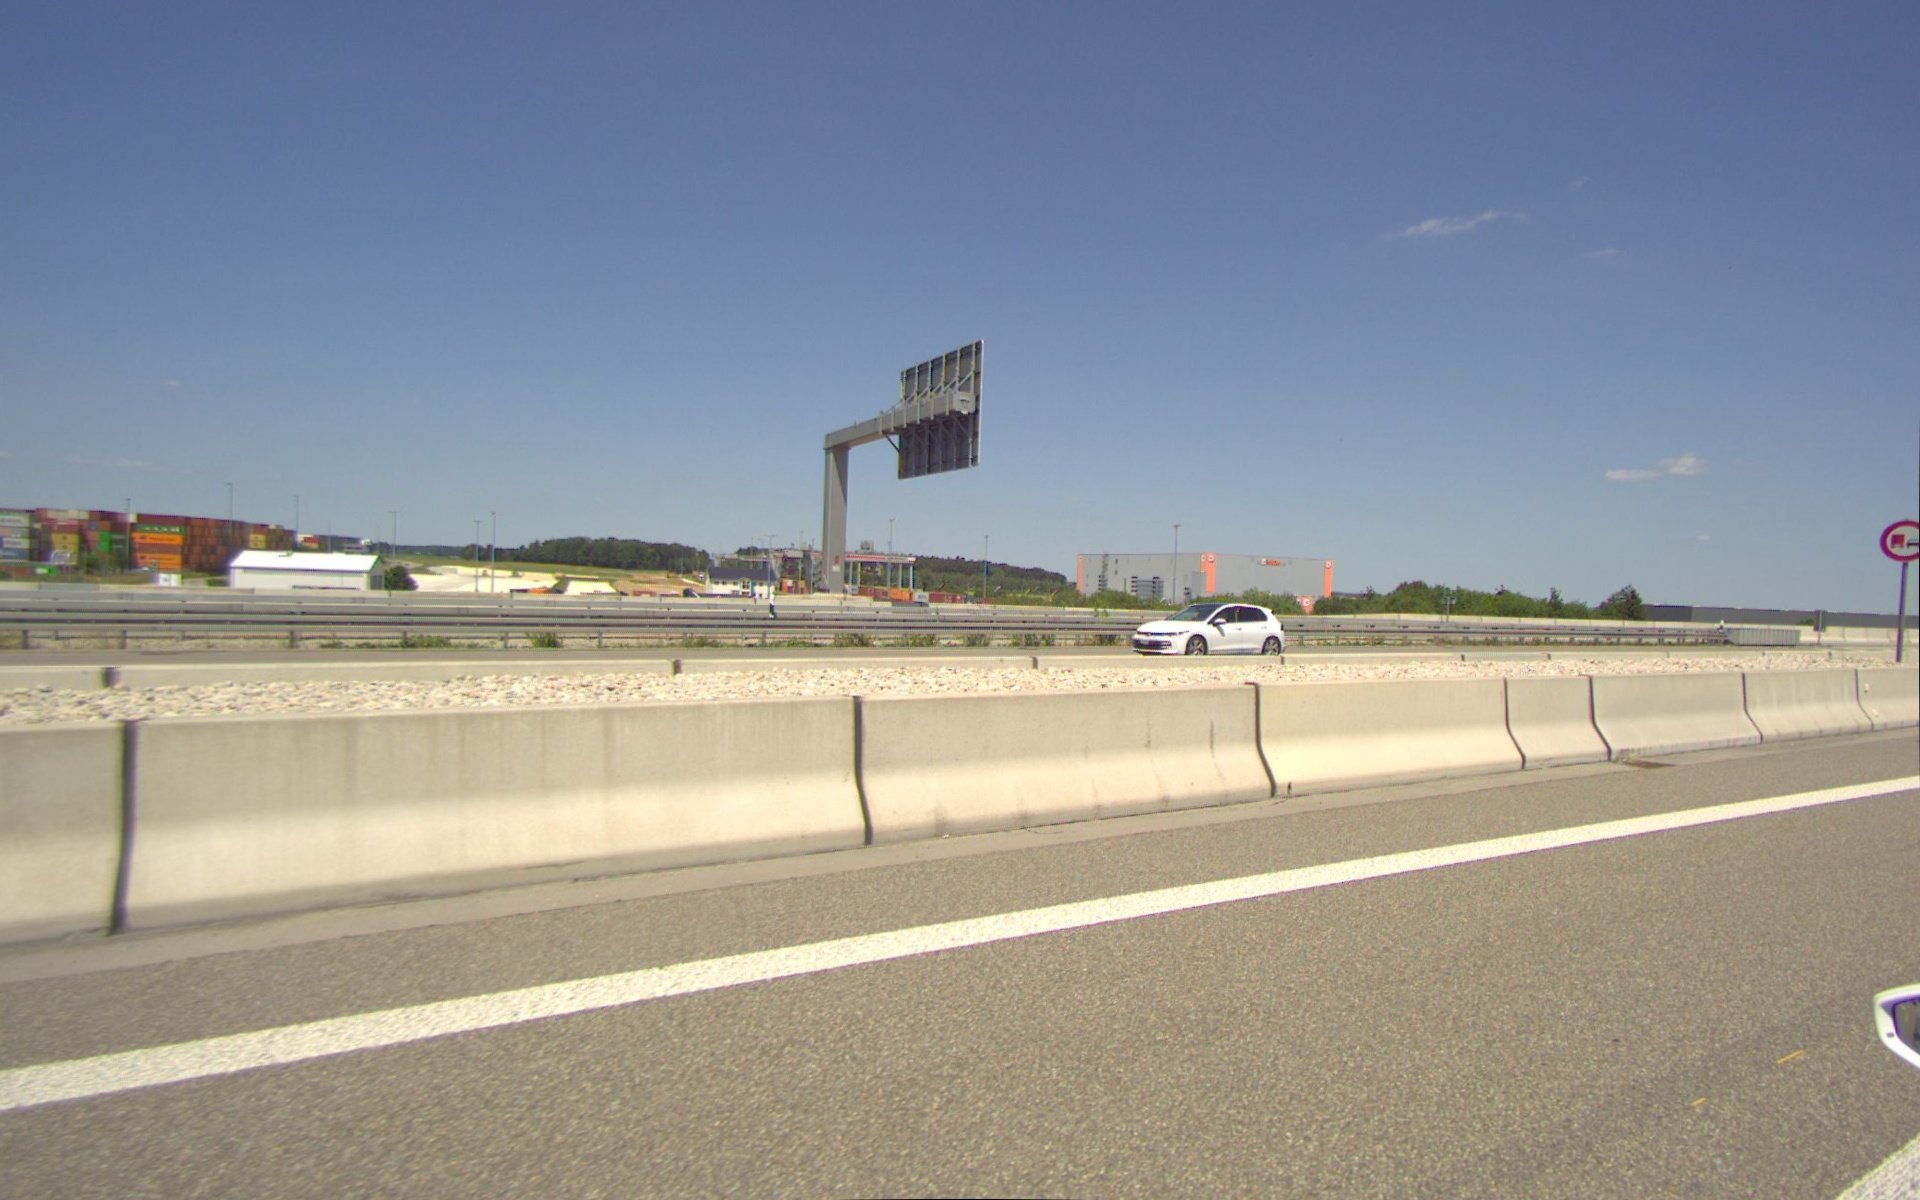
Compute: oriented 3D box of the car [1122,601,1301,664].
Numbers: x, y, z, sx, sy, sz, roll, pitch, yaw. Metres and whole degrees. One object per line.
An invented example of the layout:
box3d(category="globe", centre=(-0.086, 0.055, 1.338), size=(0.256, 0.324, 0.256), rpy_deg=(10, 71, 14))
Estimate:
box3d(category="car", centre=(6.407, 0.816, 25.455), size=(4.390, 1.454, 1.800), rpy_deg=(1, 0, -31))
